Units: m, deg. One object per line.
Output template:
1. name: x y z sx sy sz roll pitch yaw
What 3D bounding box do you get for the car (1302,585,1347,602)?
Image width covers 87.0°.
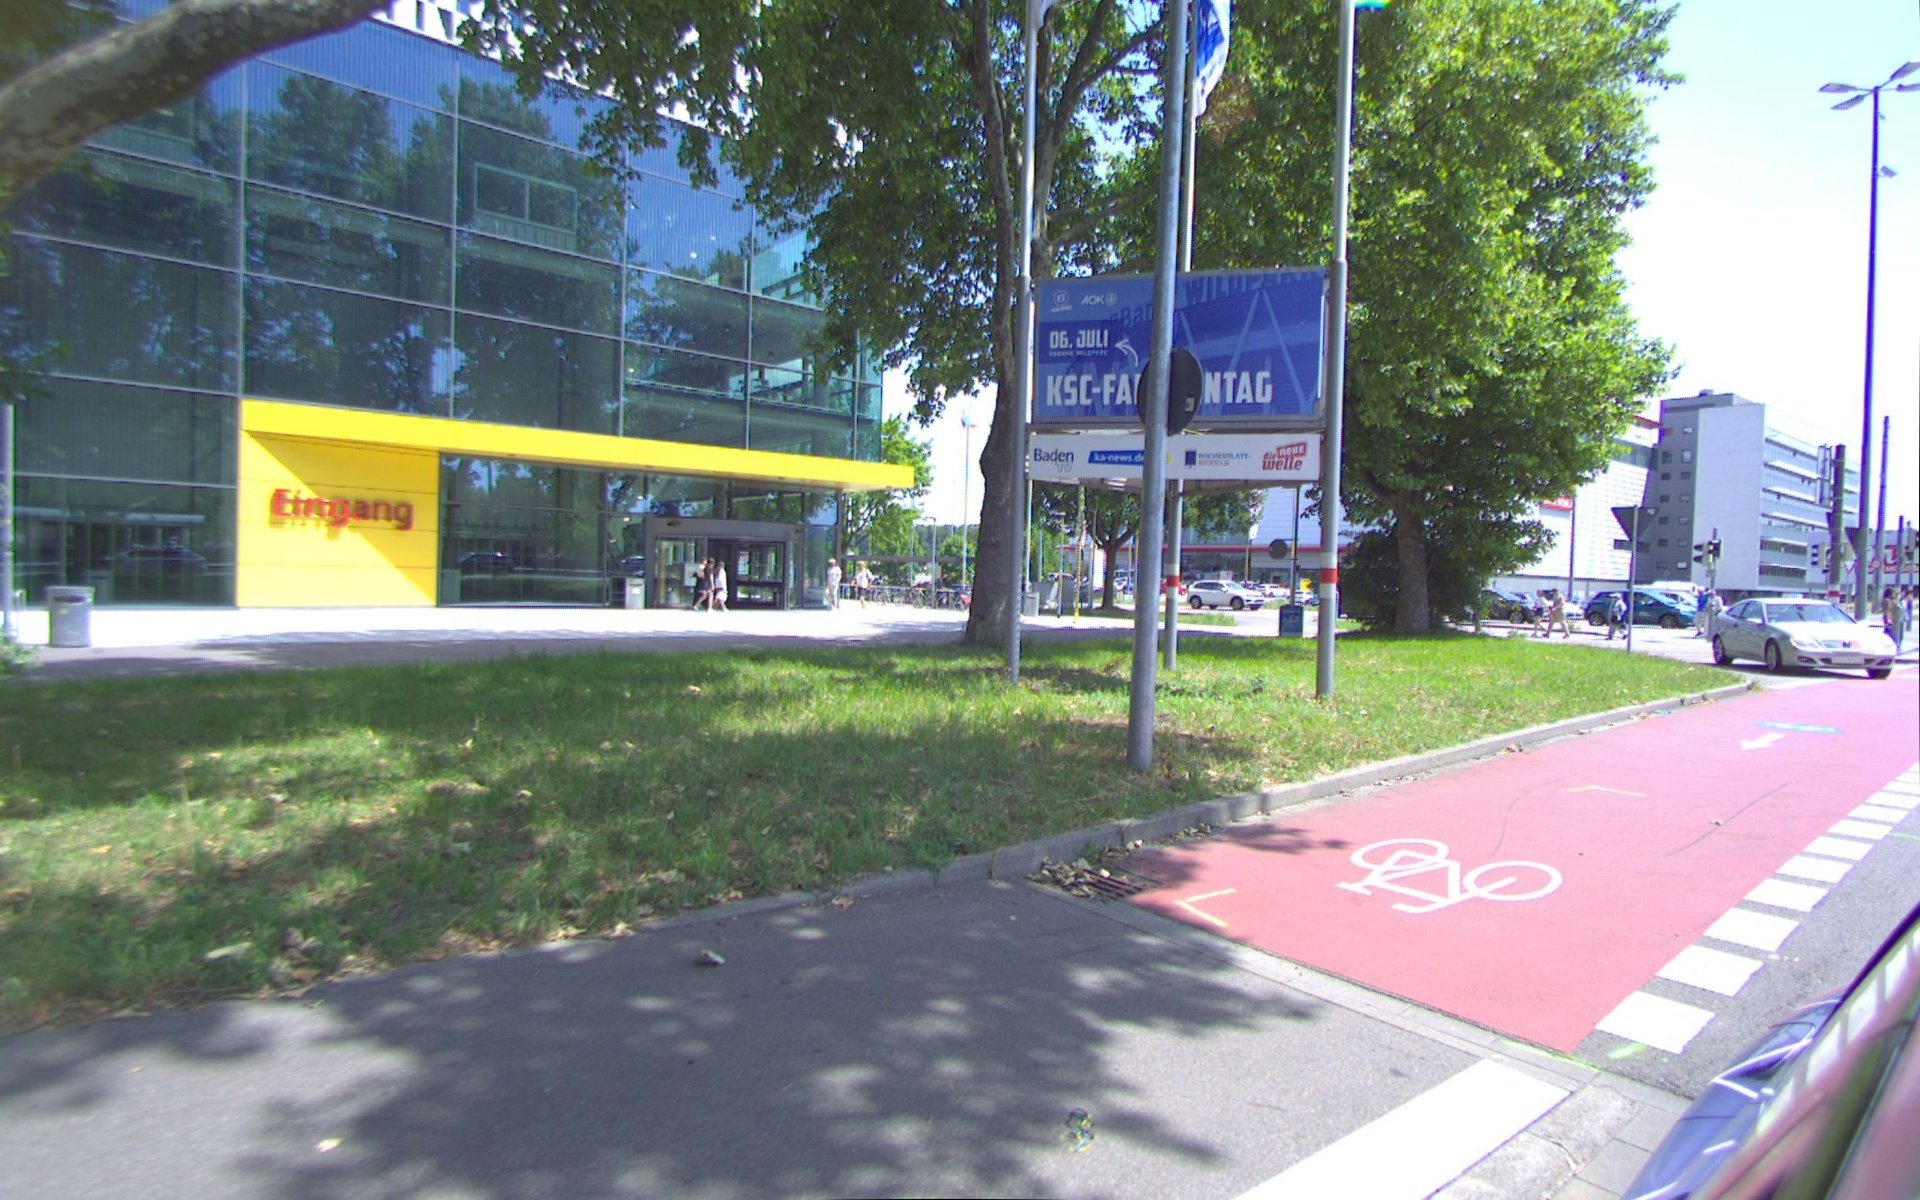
1. car: 31.240 -0.538 86.734 3.871 1.393 1.853 -1 1 -38

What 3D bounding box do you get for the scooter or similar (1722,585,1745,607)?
1. scooter or similar: 46.207 -0.254 60.438 1.252 1.307 0.481 0 1 -20

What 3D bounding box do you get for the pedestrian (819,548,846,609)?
1. pedestrian: -4.347 -0.743 34.593 0.721 2.039 0.797 1 1 10

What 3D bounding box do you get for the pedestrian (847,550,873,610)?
1. pedestrian: -3.457 -0.698 35.069 0.717 2.039 0.801 0 1 -18

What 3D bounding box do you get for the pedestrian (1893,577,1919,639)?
1. pedestrian: 25.404 0.204 26.861 0.755 1.626 0.894 -1 1 -43

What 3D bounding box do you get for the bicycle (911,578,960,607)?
1. bicycle: -1.033 -0.349 43.862 0.798 1.213 2.401 2 2 37

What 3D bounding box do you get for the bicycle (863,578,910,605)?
1. bicycle: -3.383 -0.419 46.637 0.798 1.213 2.401 2 2 37

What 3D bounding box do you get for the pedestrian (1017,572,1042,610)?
1. pedestrian: 3.030 -0.408 44.255 0.623 1.606 0.918 0 2 -44

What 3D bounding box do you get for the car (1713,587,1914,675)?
1. car: 16.185 0.501 19.472 1.712 1.436 4.290 0 1 22

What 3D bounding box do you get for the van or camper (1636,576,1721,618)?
1. van or camper: 55.012 -0.283 77.429 7.466 2.983 2.719 -1 1 -33

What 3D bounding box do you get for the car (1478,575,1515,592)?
1. car: 60.998 -1.878 115.038 4.436 1.946 1.999 -1 1 -37

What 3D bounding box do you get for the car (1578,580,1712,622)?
1. car: 26.912 0.022 39.850 1.963 1.575 3.997 1 0 -37

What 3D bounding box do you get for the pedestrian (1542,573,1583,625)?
1. pedestrian: 19.734 -0.035 33.180 0.834 1.680 0.799 0 1 -22

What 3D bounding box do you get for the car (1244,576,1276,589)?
1. car: 35.814 -2.146 120.744 3.927 1.546 1.693 -1 1 -38

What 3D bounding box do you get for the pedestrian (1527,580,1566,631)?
1. pedestrian: 19.845 0.178 34.252 0.834 1.680 0.799 0 1 -22

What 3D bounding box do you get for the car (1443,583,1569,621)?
1. car: 23.449 0.044 43.563 1.821 1.461 4.409 0 2 -40

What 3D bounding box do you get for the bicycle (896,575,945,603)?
1. bicycle: -1.709 -0.497 44.384 0.798 1.213 2.401 2 2 37

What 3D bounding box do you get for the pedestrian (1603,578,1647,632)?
1. pedestrian: 21.184 0.151 32.242 0.834 1.680 0.799 0 1 -19

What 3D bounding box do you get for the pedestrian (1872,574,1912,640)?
1. pedestrian: 24.548 0.176 26.659 0.614 1.704 0.724 -1 1 -43

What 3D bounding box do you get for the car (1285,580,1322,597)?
1. car: 33.673 -1.127 99.178 3.933 1.565 1.851 -1 1 -43

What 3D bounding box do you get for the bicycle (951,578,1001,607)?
1. bicycle: 0.679 -0.326 41.644 0.798 1.159 2.401 2 2 37

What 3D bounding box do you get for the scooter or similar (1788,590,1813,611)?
1. scooter or similar: 51.186 0.030 61.628 1.253 1.140 0.481 -3 1 -10

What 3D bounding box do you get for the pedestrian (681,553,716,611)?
1. pedestrian: -8.043 -0.561 31.151 0.779 1.757 0.731 1 1 37

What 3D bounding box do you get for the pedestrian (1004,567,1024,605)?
1. pedestrian: 2.353 -0.618 43.973 0.623 1.606 0.610 0 1 -44

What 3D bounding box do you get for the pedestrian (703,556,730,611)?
1. pedestrian: -7.614 -0.512 31.677 0.604 1.693 0.578 1 1 38

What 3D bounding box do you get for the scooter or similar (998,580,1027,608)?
1. scooter or similar: 2.325 -0.268 44.944 0.716 1.213 1.076 -1 1 -41

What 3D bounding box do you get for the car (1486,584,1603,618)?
1. car: 26.301 -0.002 45.649 1.768 1.415 4.237 0 2 -32

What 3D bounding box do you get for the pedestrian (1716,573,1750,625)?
1. pedestrian: 25.242 -0.055 33.047 0.847 1.658 0.608 -2 2 -30

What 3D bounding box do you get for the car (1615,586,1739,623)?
1. car: 29.426 0.150 41.614 1.772 1.414 3.832 0 2 -40

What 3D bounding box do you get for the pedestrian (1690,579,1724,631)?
1. pedestrian: 24.710 0.160 33.469 0.847 1.658 0.605 -2 2 -30

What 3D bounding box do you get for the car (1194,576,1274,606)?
1. car: 15.688 -0.537 58.026 1.963 1.660 4.080 0 2 -38

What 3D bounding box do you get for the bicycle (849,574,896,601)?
1. bicycle: -4.093 -0.602 47.414 0.798 1.213 2.401 2 2 37

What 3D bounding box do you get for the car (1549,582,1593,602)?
1. car: 56.941 -0.769 94.260 4.420 1.738 1.999 -1 1 -37

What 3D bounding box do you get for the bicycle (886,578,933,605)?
1. bicycle: -2.275 -0.399 45.955 0.798 1.213 2.401 2 2 37

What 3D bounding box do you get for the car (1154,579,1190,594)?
1. car: 25.057 -1.633 119.716 4.092 1.723 1.855 0 2 -36
